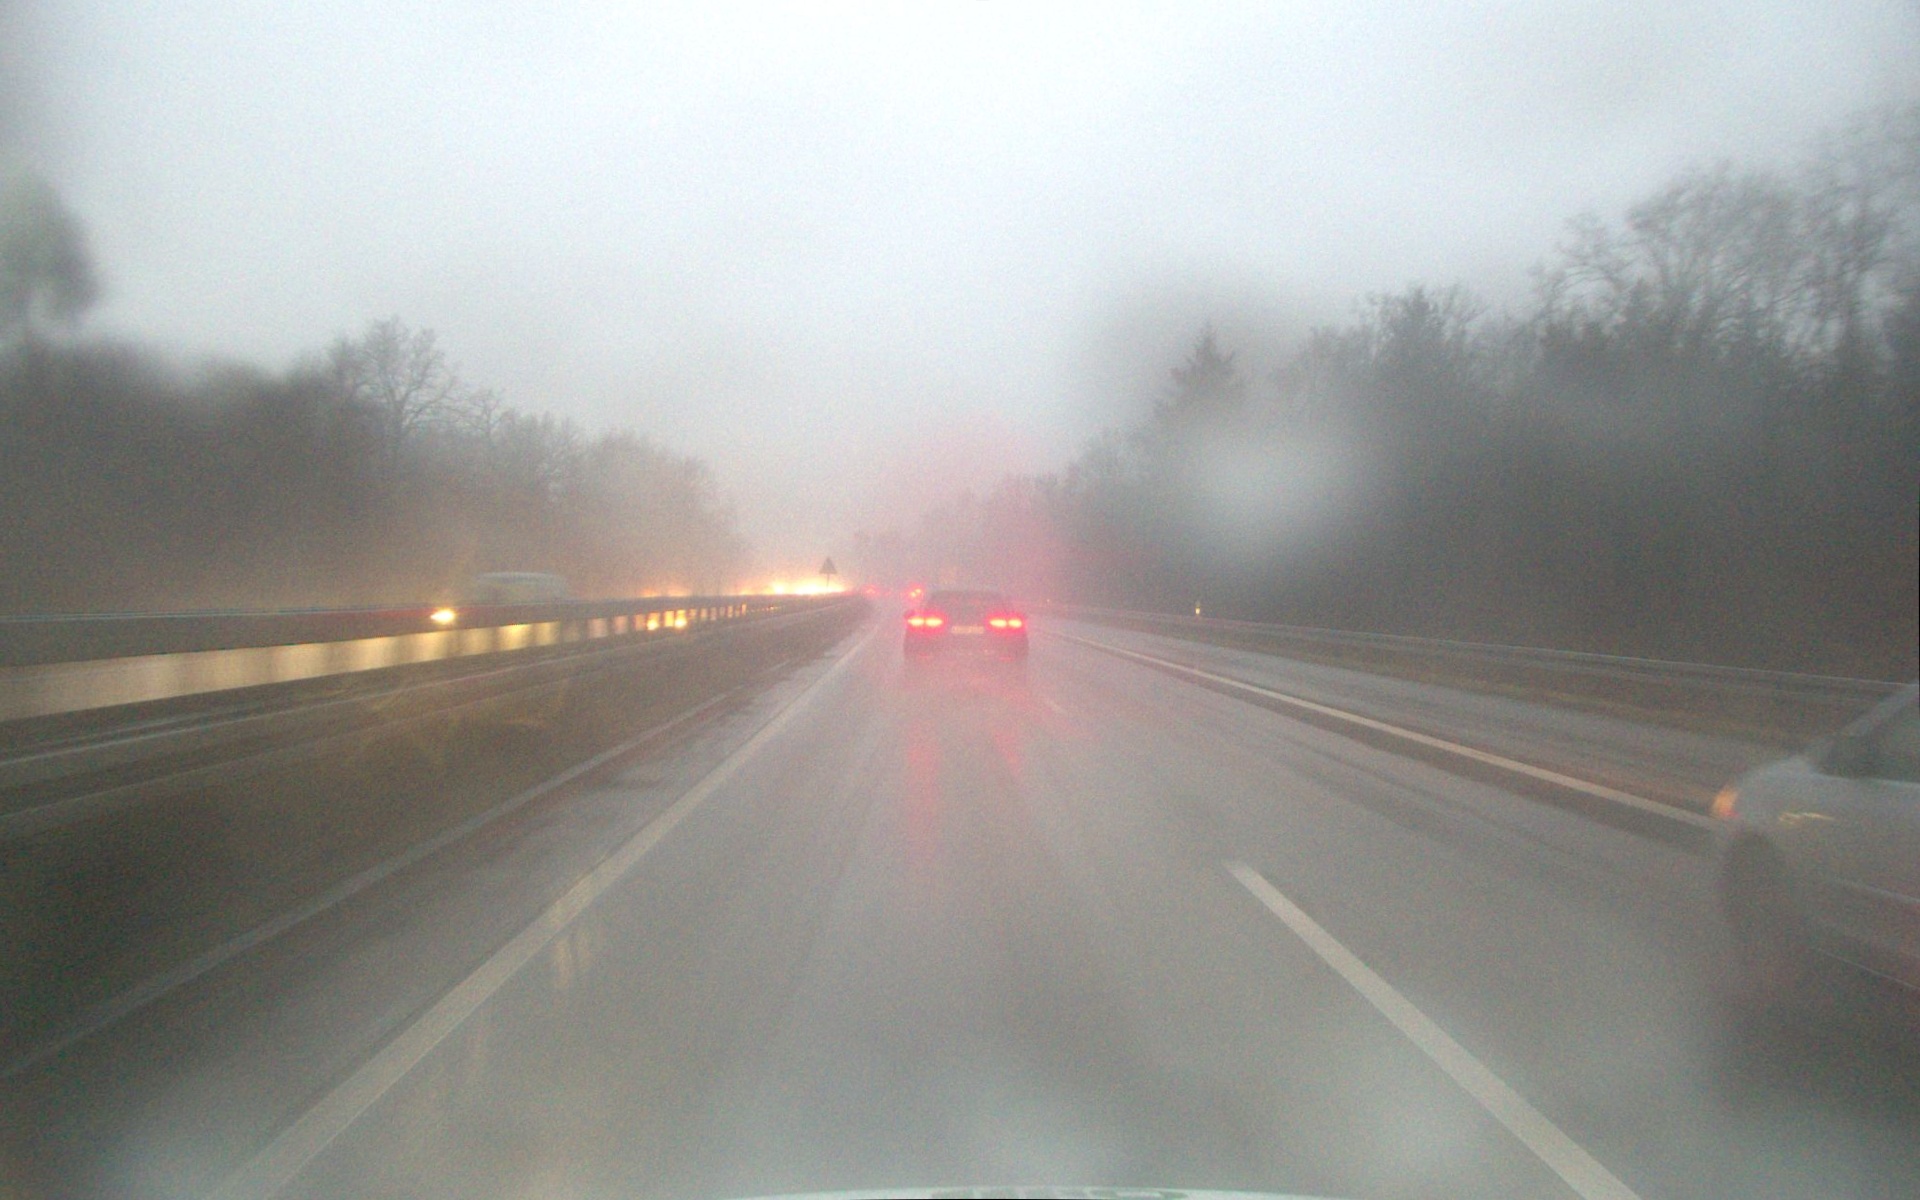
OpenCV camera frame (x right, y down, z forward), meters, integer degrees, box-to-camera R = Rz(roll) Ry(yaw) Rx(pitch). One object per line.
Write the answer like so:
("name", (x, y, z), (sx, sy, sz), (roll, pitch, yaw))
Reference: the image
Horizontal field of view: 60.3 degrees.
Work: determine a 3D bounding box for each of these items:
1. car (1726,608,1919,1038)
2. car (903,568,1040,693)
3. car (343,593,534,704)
("car", (3.925, 0.734, 5.090), (1.566, 1.389, 3.304), (0, 0, -1))
("car", (0.108, 0.466, 26.552), (1.886, 1.823, 3.937), (1, 0, -4))
("car", (-8.240, 0.725, 26.537), (1.644, 1.606, 4.421), (1, 0, 0))
